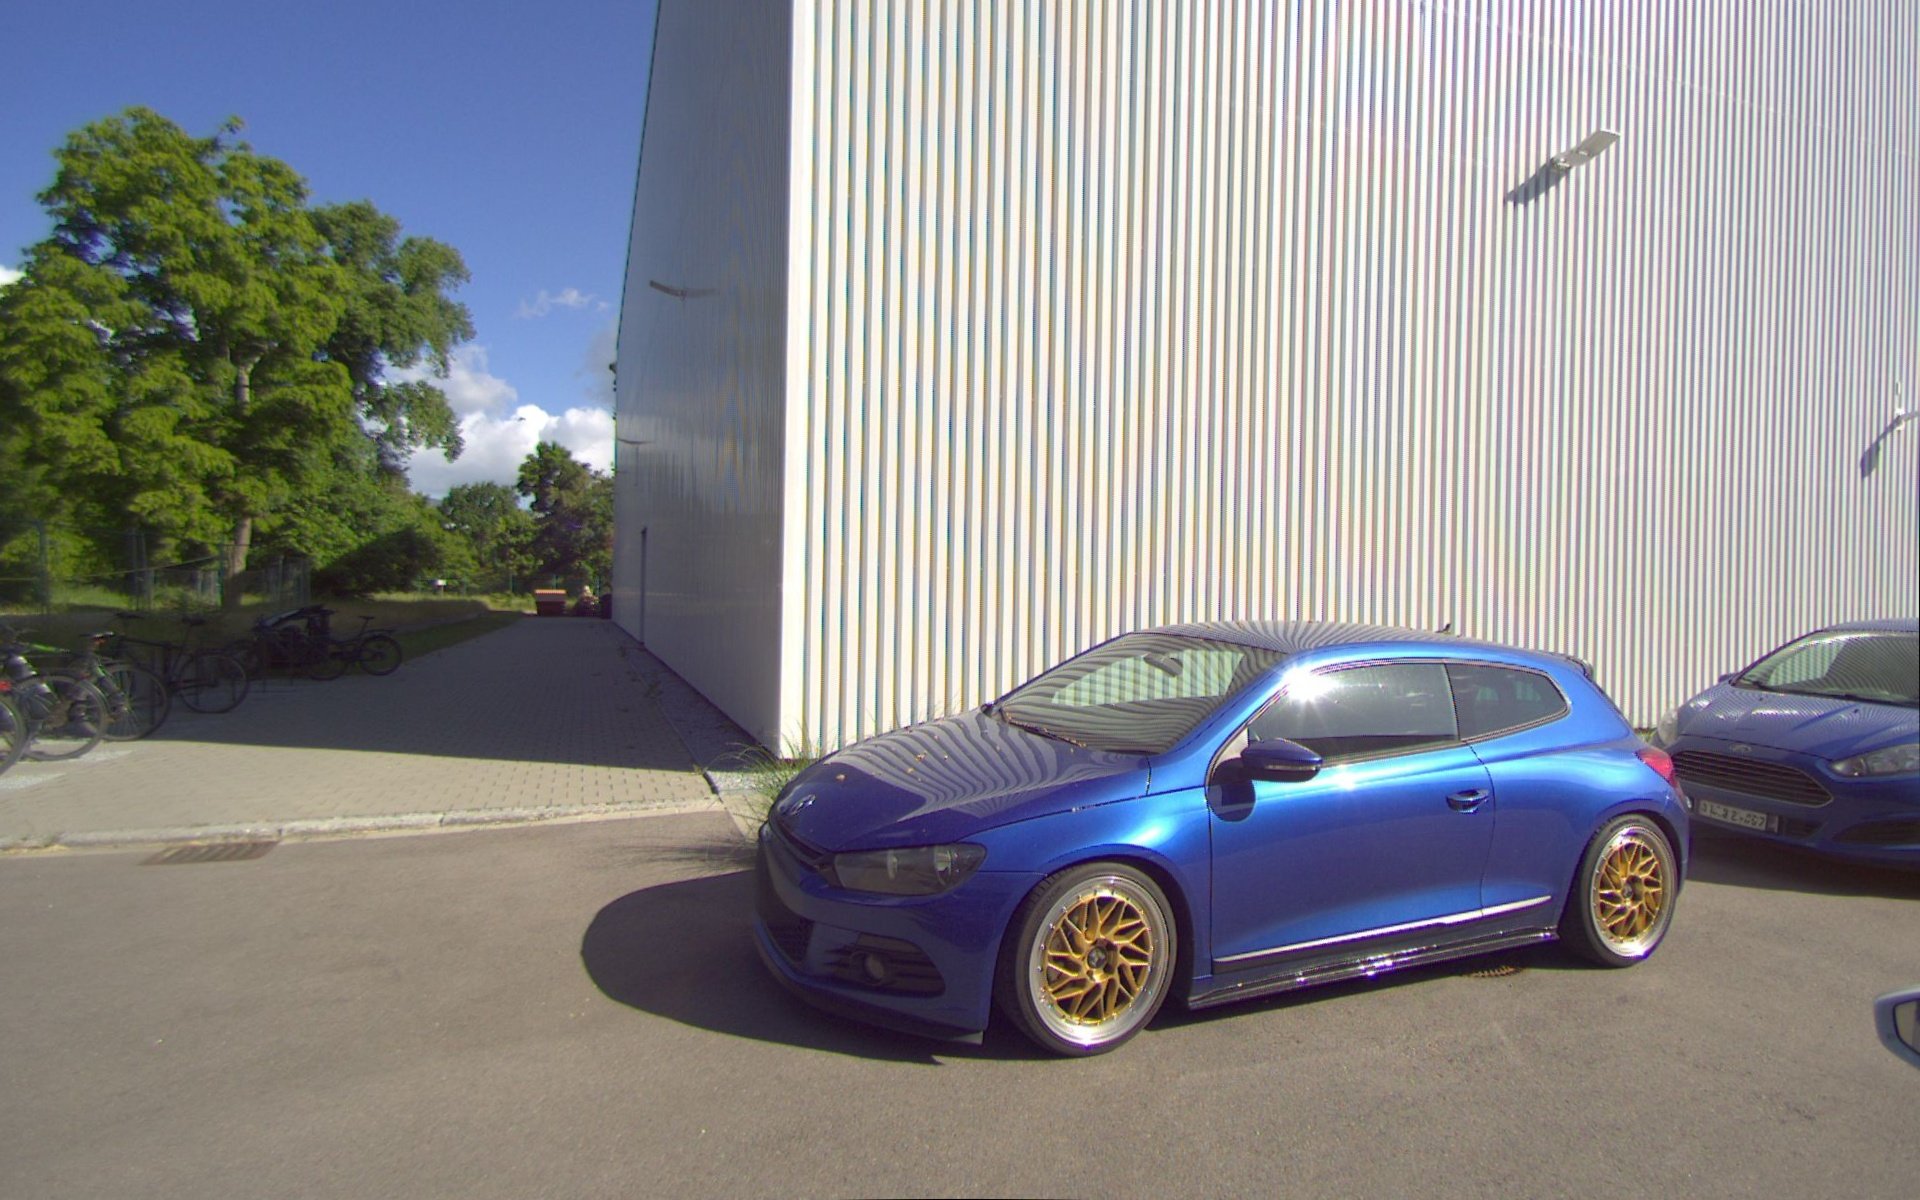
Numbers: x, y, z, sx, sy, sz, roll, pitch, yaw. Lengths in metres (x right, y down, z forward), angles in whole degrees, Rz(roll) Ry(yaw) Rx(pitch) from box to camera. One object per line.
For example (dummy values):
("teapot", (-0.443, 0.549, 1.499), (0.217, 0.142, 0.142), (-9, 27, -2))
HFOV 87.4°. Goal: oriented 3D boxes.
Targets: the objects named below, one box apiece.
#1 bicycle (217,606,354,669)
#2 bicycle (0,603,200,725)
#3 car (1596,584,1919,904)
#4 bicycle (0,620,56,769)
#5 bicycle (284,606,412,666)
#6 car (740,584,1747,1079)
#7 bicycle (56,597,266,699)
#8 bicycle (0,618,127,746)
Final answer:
("bicycle", (-10.928, 0.611, 16.335), (1.791, 0.973, 0.478), (1, 1, -27))
("bicycle", (-8.127, 0.574, 9.180), (1.808, 1.051, 0.478), (1, 1, -27))
("car", (6.286, 0.749, 6.463), (4.036, 1.520, 1.627), (2, 2, -23))
("bicycle", (-7.350, 0.634, 6.753), (1.812, 1.001, 0.478), (1, 1, -27))
("bicycle", (-10.426, 0.621, 17.168), (1.812, 0.973, 0.478), (1, 1, -27))
("car", (1.209, 0.689, 4.404), (3.995, 1.379, 1.770), (2, 1, -22))
("bicycle", (-9.165, 0.543, 11.603), (1.812, 1.103, 0.478), (1, 1, -27))
("bicycle", (-7.765, 0.636, 7.880), (1.811, 0.973, 0.478), (1, 1, -27))
